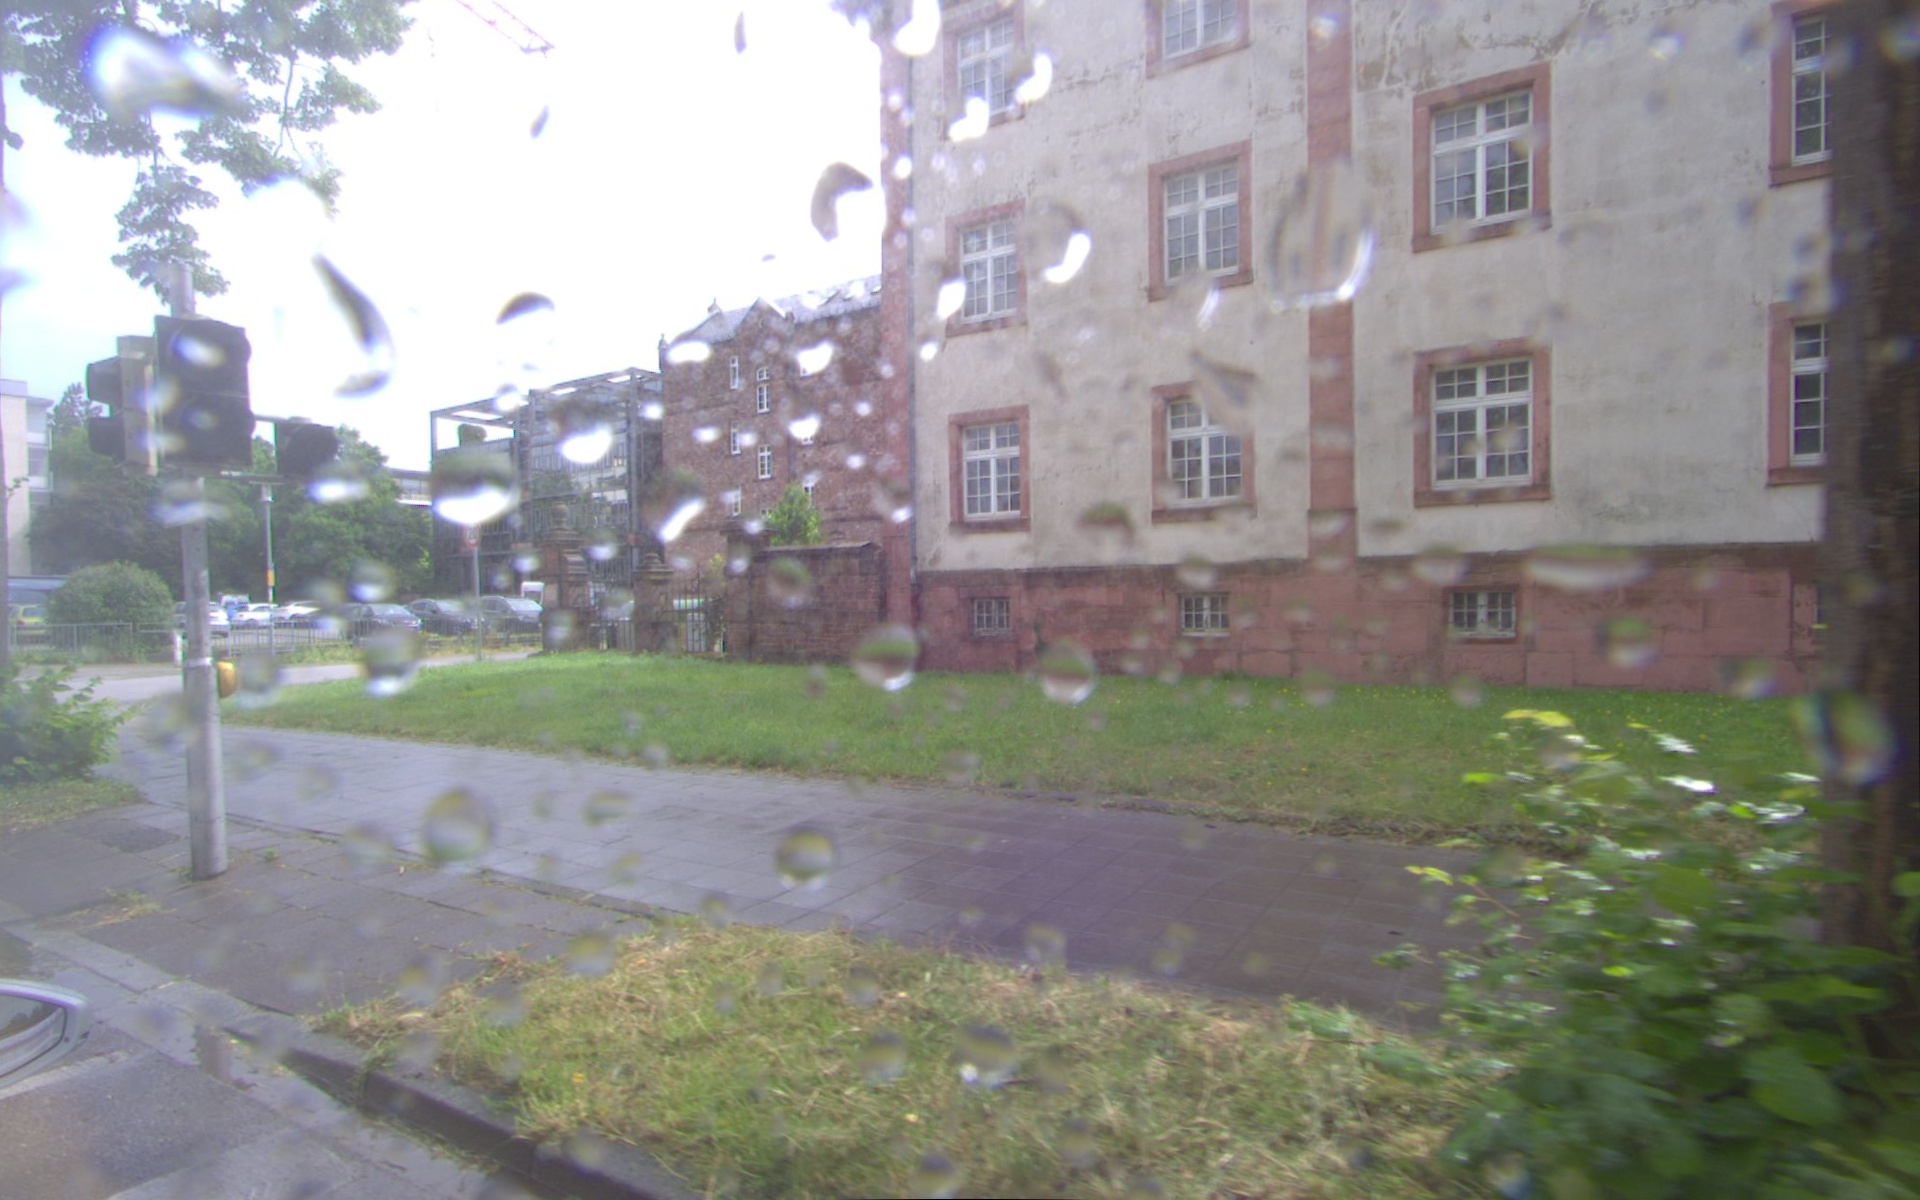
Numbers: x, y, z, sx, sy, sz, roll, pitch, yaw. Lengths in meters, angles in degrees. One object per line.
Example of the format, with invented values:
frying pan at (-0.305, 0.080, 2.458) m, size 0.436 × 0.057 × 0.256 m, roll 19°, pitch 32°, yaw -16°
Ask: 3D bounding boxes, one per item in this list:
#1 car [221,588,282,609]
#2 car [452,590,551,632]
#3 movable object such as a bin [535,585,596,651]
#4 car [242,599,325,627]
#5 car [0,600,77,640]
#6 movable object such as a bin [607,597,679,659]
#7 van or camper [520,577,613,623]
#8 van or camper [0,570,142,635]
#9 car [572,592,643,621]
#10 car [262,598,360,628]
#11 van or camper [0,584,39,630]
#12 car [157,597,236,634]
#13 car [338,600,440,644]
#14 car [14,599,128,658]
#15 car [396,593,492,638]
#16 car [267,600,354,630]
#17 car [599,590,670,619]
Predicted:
car at (-50.272, -0.104, 71.055) m, size 1.489 × 1.416 × 3.214 m, roll 0°, pitch 1°, yaw 36°
car at (-19.564, 0.461, 42.659) m, size 4.363 × 1.701 × 1.847 m, roll -1°, pitch 1°, yaw 35°
movable object such as a bin at (-9.151, 0.405, 23.233) m, size 1.081 × 1.477 × 0.797 m, roll 0°, pitch 2°, yaw 34°
car at (-39.299, 0.711, 58.196) m, size 1.617 × 1.506 × 3.654 m, roll 0°, pitch 1°, yaw 36°
car at (-35.813, 0.745, 38.813) m, size 3.371 × 1.468 × 1.605 m, roll -1°, pitch 1°, yaw 35°
movable object such as a bin at (-8.020, 0.693, 25.355) m, size 1.371 × 1.477 × 1.103 m, roll 0°, pitch 2°, yaw 34°
van or camper at (-23.242, 0.052, 59.384) m, size 2.226 × 2.518 × 4.778 m, roll -1°, pitch -2°, yaw 32°
van or camper at (-37.950, 0.138, 42.173) m, size 2.145 × 2.588 × 4.986 m, roll -1°, pitch -1°, yaw 34°
car at (-20.618, 0.349, 58.617) m, size 1.649 × 1.598 × 3.656 m, roll 0°, pitch 1°, yaw 34°
car at (-34.113, 0.665, 52.734) m, size 1.649 × 1.485 × 3.962 m, roll 0°, pitch 1°, yaw 34°
van or camper at (-46.712, 0.321, 47.033) m, size 2.291 × 2.160 × 4.743 m, roll 0°, pitch 1°, yaw 36°
car at (-32.678, 0.637, 42.836) m, size 3.669 × 1.506 × 1.643 m, roll -1°, pitch 1°, yaw 36°
car at (-22.021, 0.818, 38.565) m, size 4.367 × 1.547 × 1.822 m, roll -1°, pitch 1°, yaw 38°
car at (-28.916, 0.893, 32.535) m, size 4.181 × 1.773 × 1.798 m, roll -1°, pitch 1°, yaw 35°
car at (-21.080, 0.603, 40.839) m, size 4.368 × 1.701 × 1.845 m, roll 0°, pitch 1°, yaw 39°
car at (-35.495, 0.793, 54.821) m, size 1.617 × 1.506 × 3.654 m, roll 0°, pitch 1°, yaw 36°
car at (-18.642, 0.279, 57.450) m, size 1.649 × 1.505 × 3.658 m, roll 0°, pitch -2°, yaw 34°
